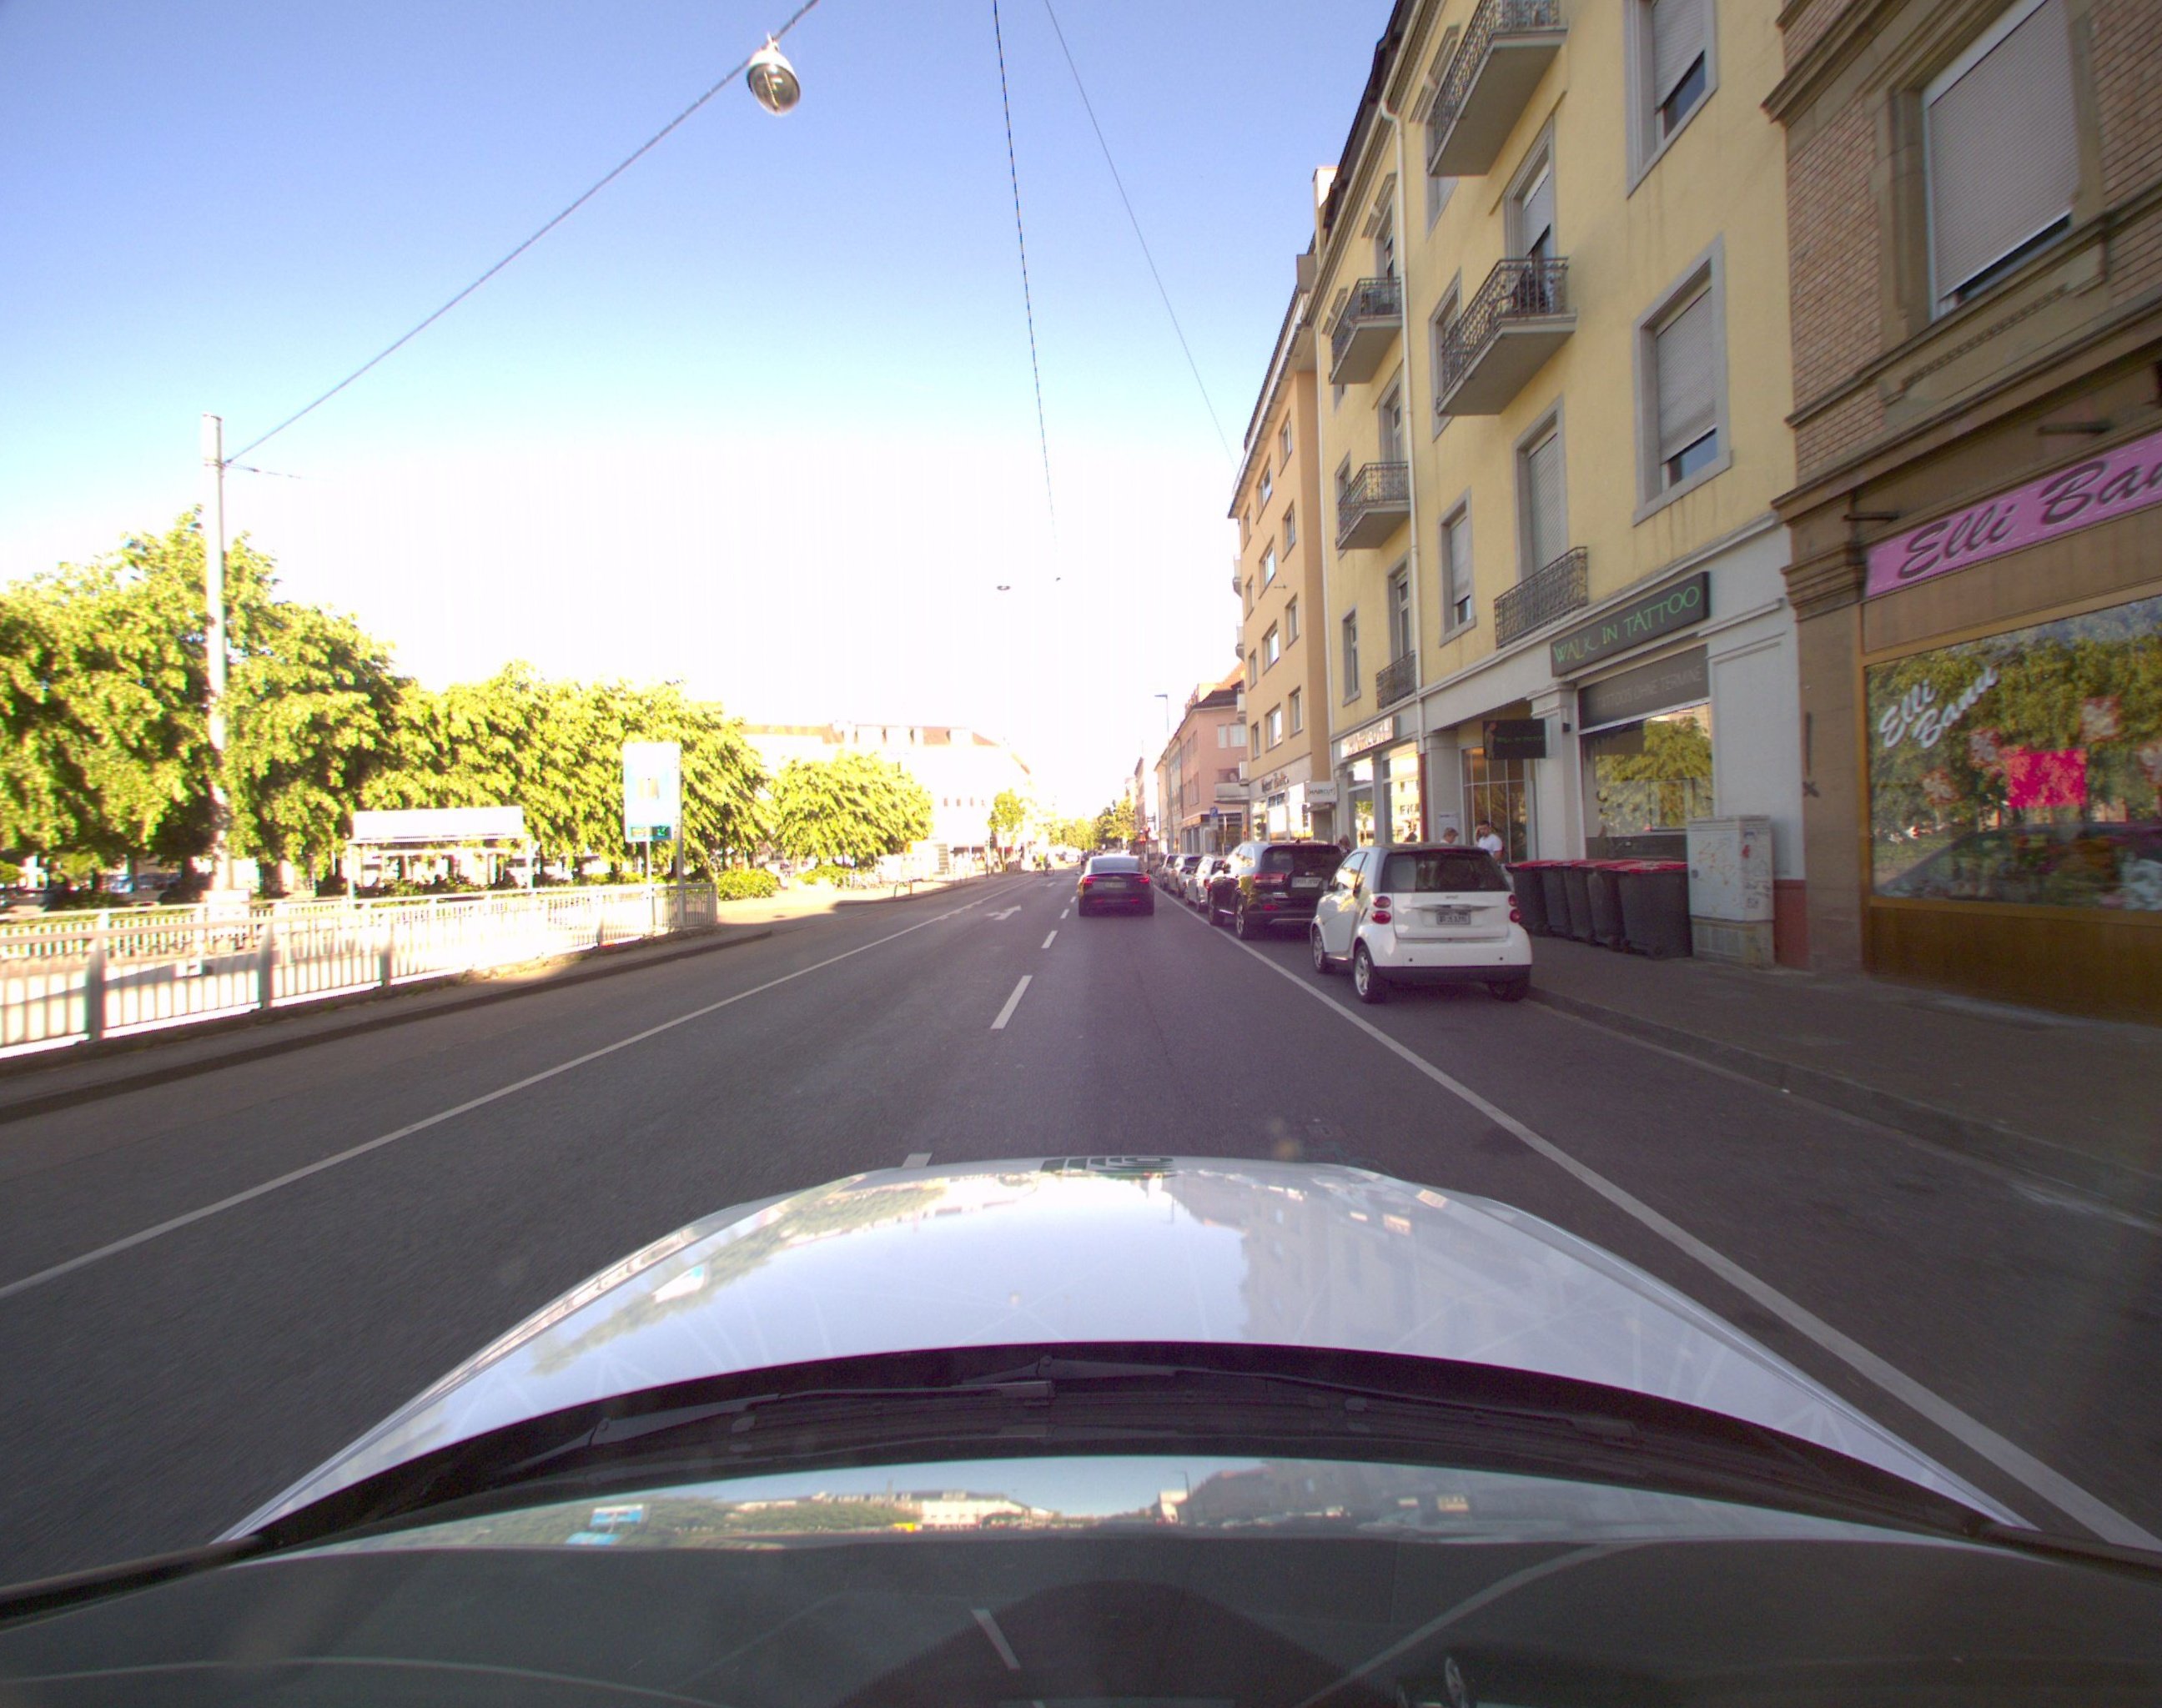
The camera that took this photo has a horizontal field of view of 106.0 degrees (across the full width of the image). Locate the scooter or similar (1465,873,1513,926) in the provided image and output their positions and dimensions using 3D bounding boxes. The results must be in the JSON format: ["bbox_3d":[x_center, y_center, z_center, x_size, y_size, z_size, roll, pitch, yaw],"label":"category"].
[{"bbox_3d":[6.543,0.727,13.072,0.574,0.779,0.469,-4,-1,17],"label":"scooter or similar"}]

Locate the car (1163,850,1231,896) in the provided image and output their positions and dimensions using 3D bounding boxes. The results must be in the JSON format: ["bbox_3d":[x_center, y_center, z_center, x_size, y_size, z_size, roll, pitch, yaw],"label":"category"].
[{"bbox_3d":[3.883,0.640,27.825,1.786,1.460,3.868,0,-1,0],"label":"car"}]

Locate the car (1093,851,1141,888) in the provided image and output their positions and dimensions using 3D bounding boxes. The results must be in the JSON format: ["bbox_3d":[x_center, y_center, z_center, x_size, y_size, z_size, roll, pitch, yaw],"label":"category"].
[{"bbox_3d":[1.617,0.633,35.872,1.926,1.487,4.275,-1,0,3],"label":"car"}]

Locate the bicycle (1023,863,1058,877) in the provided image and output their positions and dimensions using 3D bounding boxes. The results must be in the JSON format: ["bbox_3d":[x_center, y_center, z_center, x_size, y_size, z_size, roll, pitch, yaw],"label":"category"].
[{"bbox_3d":[-2.734,1.047,54.777,2.233,0.883,0.925,-1,0,5],"label":"bicycle"}]

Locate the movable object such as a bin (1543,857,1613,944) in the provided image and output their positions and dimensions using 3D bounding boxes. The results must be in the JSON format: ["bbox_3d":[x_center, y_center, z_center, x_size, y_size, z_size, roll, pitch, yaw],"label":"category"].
[{"bbox_3d":[6.409,0.586,10.524,0.477,1.052,0.632,-3,0,0],"label":"movable object such as a bin"}]

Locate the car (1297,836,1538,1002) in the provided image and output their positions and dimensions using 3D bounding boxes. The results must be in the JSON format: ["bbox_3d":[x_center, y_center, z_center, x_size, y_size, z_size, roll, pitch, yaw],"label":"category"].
[{"bbox_3d":[3.517,0.593,9.034,1.607,1.546,2.857,0,0,2],"label":"car"}]

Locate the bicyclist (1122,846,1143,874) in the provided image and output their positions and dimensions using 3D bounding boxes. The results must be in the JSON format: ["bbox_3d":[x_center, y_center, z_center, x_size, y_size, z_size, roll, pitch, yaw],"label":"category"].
[{"bbox_3d":[3.127,0.353,49.180,1.143,1.686,0.918,-1,0,-2],"label":"bicyclist"}]

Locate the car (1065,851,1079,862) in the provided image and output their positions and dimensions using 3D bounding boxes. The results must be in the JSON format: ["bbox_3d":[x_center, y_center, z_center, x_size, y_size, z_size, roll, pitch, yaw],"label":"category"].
[{"bbox_3d":[-1.456,0.366,130.062,1.985,1.771,4.003,-1,1,3],"label":"car"}]

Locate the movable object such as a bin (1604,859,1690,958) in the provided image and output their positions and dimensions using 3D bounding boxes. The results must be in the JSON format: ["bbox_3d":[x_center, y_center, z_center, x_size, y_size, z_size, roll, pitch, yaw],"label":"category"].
[{"bbox_3d":[6.388,0.600,9.214,0.477,1.052,0.632,-3,0,0],"label":"movable object such as a bin"}]

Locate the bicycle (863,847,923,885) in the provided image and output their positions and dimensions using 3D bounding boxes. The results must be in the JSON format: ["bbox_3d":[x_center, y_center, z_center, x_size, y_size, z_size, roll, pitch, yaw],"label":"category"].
[{"bbox_3d":[-10.341,0.669,44.820,3.102,2.013,0.911,-1,0,10],"label":"bicycle"}]

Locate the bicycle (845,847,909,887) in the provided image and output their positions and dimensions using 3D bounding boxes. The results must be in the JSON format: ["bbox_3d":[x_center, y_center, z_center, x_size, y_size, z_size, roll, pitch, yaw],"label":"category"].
[{"bbox_3d":[-10.670,0.668,42.696,3.102,2.013,0.911,-1,0,10],"label":"bicycle"}]

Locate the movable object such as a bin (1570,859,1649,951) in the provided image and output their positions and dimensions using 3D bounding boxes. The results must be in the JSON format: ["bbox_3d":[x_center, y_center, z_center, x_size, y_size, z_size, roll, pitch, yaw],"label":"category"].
[{"bbox_3d":[6.400,0.598,9.884,0.493,1.052,0.632,-3,0,0],"label":"movable object such as a bin"}]

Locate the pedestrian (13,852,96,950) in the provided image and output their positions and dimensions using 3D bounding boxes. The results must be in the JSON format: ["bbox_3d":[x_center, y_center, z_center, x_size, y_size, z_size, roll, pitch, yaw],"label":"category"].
[{"bbox_3d":[-22.905,1.016,18.190,0.726,2.108,0.973,-1,0,23],"label":"pedestrian"}]

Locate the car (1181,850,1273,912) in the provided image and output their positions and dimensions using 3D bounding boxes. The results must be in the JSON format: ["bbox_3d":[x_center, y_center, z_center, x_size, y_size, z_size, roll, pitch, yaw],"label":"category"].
[{"bbox_3d":[3.719,0.680,21.404,1.786,1.460,4.085,0,-1,2],"label":"car"}]

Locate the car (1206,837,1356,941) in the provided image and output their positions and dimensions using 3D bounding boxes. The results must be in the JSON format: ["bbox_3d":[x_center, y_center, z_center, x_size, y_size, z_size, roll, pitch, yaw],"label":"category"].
[{"bbox_3d":[3.457,0.582,14.865,1.711,1.635,4.083,0,-1,0],"label":"car"}]

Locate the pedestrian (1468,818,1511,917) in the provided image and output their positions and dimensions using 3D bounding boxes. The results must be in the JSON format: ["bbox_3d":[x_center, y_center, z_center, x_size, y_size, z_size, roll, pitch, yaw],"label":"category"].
[{"bbox_3d":[6.930,0.224,13.829,0.468,1.635,0.514,-1,0,6],"label":"pedestrian"}]

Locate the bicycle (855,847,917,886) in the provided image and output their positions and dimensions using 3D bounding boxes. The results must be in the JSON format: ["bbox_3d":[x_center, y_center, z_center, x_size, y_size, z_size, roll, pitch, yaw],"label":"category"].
[{"bbox_3d":[-10.473,0.651,43.739,3.102,2.013,0.911,-1,0,10],"label":"bicycle"}]

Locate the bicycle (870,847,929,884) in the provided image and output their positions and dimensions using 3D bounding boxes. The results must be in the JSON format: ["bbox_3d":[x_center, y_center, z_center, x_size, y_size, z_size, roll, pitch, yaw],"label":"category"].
[{"bbox_3d":[-10.199,0.660,45.856,3.102,2.013,0.911,-1,0,10],"label":"bicycle"}]

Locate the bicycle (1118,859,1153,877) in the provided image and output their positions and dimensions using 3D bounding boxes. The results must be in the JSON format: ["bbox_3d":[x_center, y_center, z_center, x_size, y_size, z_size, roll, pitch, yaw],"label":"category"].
[{"bbox_3d":[3.276,0.831,49.170,2.006,1.022,0.887,-1,0,-3],"label":"bicycle"}]

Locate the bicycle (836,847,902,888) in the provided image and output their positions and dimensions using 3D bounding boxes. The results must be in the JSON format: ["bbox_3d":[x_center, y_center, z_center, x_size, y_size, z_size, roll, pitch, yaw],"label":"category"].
[{"bbox_3d":[-10.838,0.684,41.706,3.102,2.013,0.911,-1,0,10],"label":"bicycle"}]

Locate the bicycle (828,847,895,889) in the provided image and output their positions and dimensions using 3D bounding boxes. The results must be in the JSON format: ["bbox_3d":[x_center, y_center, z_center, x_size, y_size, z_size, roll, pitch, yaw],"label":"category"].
[{"bbox_3d":[-10.979,0.699,40.752,3.102,2.013,0.911,-1,0,10],"label":"bicycle"}]

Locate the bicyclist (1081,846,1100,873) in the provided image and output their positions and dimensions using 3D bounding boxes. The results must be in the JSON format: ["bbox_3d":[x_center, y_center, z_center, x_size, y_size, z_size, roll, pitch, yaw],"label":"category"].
[{"bbox_3d":[0.595,0.351,52.083,1.143,1.686,0.819,-1,0,-2],"label":"bicyclist"}]

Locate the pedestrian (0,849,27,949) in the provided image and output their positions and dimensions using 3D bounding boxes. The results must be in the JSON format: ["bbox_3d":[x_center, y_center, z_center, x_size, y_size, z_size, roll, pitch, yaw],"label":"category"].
[{"bbox_3d":[-23.230,0.970,17.226,0.726,2.108,0.973,-1,0,23],"label":"pedestrian"}]

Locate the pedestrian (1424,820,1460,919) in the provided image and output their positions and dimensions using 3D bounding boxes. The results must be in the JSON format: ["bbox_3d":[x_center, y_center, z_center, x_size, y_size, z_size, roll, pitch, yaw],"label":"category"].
[{"bbox_3d":[6.076,0.256,13.705,0.467,1.635,0.515,-1,0,17],"label":"pedestrian"}]

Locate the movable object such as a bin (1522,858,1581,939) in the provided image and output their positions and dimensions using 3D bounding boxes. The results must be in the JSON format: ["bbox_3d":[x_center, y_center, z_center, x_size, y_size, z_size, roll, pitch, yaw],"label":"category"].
[{"bbox_3d":[6.415,0.599,11.111,0.477,1.052,0.468,-3,0,0],"label":"movable object such as a bin"}]

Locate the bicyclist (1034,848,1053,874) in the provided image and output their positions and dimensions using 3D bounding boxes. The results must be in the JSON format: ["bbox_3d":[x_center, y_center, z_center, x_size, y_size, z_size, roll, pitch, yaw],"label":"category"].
[{"bbox_3d":[-2.494,0.487,54.776,1.141,1.686,0.916,-1,0,4],"label":"bicyclist"}]

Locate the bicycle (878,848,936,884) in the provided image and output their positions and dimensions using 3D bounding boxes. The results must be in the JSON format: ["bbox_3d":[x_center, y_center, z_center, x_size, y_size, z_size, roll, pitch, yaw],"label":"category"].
[{"bbox_3d":[-10.011,0.701,46.896,3.102,2.013,0.911,-1,0,10],"label":"bicycle"}]

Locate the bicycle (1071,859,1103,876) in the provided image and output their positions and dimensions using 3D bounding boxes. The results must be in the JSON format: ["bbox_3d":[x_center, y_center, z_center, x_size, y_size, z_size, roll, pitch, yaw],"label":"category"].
[{"bbox_3d":[0.351,0.829,52.067,2.006,1.022,0.761,-1,0,-3],"label":"bicycle"}]

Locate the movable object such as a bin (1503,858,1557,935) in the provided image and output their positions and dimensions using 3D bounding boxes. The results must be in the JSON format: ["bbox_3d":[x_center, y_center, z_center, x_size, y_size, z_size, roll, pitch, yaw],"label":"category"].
[{"bbox_3d":[6.416,0.592,11.656,0.454,1.052,0.500,-3,0,0],"label":"movable object such as a bin"}]

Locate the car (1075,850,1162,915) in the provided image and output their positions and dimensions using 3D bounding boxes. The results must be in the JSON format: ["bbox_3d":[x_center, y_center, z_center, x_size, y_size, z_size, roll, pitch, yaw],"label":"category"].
[{"bbox_3d":[0.883,0.684,20.995,1.989,1.480,4.494,0,-1,0],"label":"car"}]

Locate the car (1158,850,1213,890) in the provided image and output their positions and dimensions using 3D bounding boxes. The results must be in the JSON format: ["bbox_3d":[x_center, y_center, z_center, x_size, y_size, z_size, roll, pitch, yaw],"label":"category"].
[{"bbox_3d":[4.042,0.628,32.053,1.786,1.460,3.869,0,-1,1],"label":"car"}]
